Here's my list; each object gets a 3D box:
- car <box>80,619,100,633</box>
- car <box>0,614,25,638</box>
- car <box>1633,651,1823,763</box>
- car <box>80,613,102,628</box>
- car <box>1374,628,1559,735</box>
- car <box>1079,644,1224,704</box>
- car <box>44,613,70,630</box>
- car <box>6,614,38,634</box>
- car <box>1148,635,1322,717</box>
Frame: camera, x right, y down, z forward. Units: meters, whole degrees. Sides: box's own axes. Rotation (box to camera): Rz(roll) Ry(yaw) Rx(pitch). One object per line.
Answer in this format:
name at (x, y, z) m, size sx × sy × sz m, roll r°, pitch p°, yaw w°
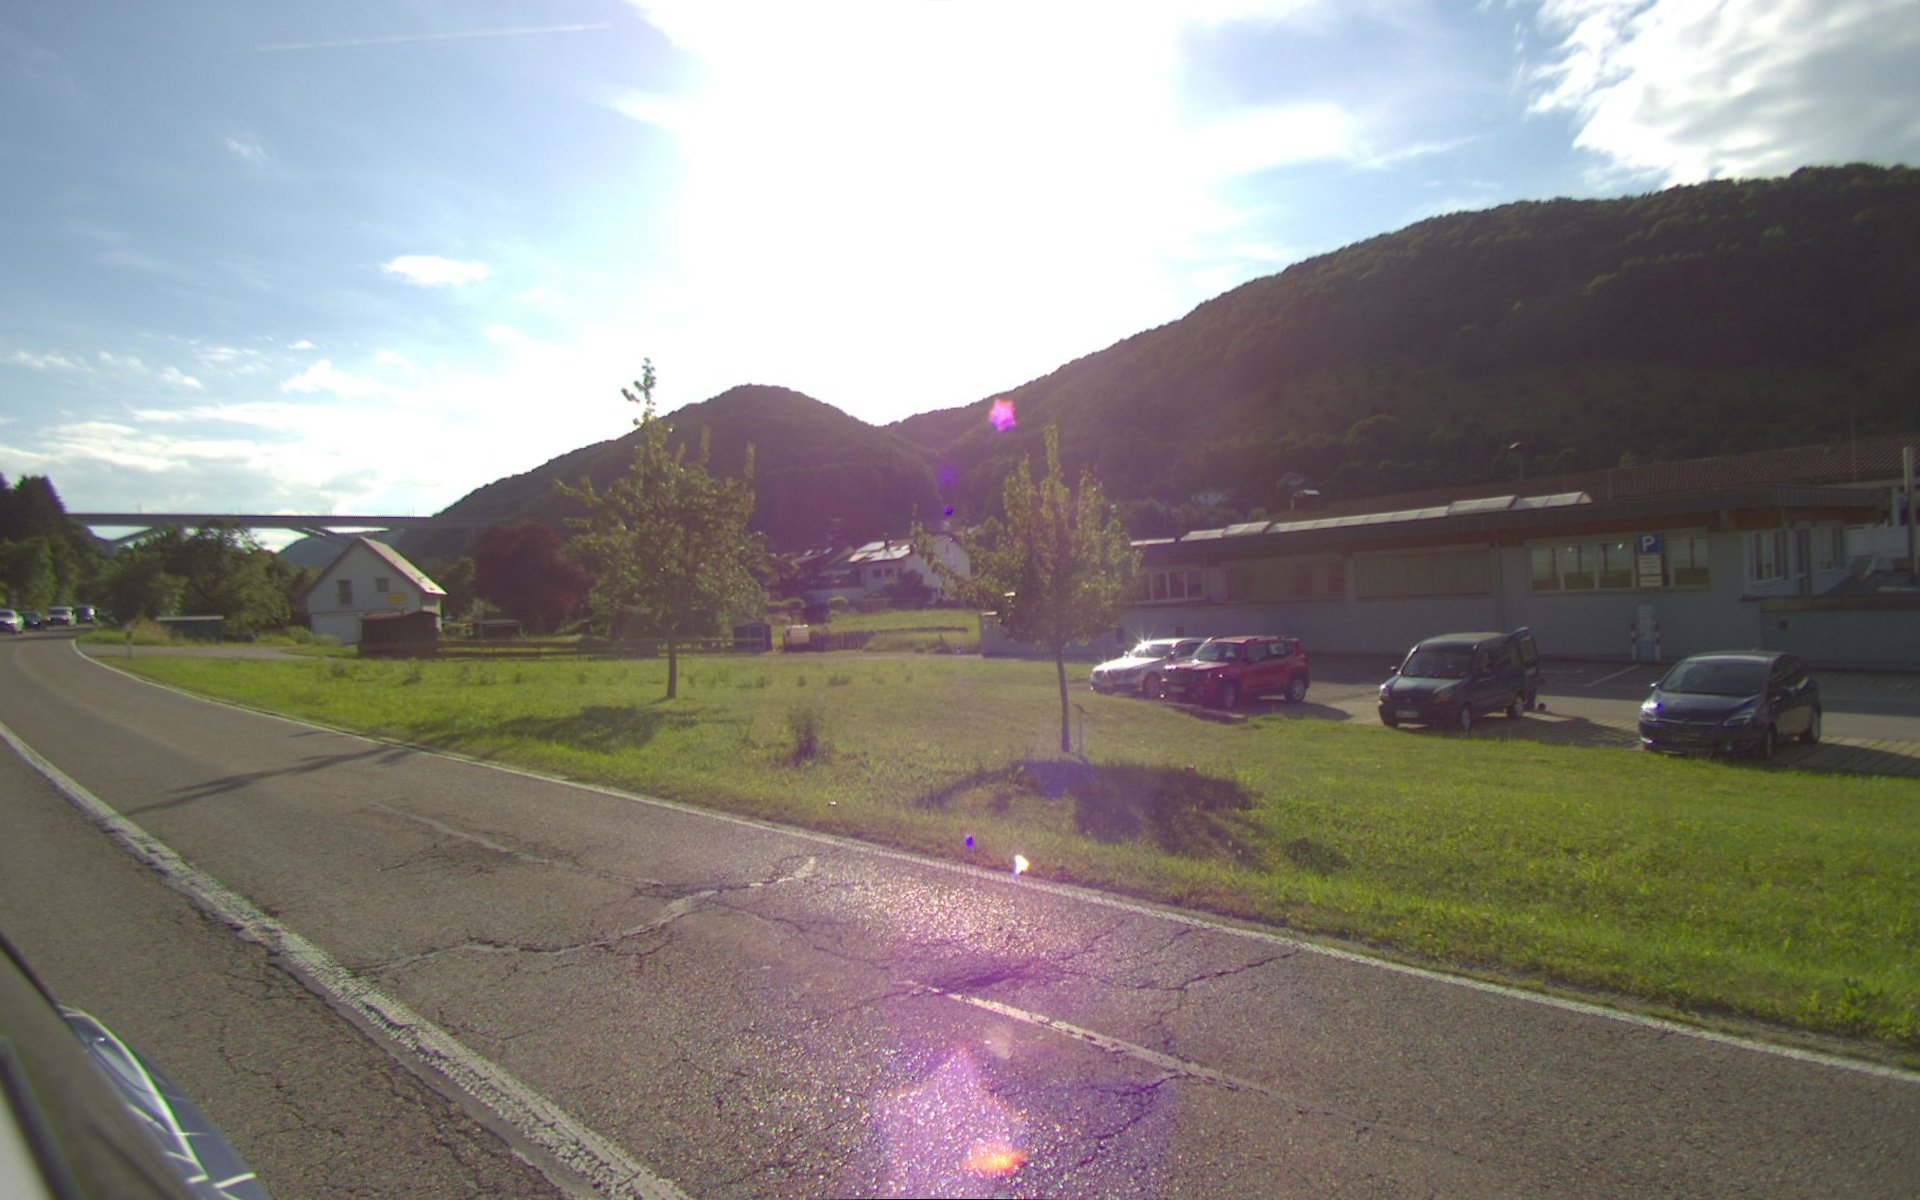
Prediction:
car at (-97.491, 2.933, 113.431) m, size 1.606 × 1.490 × 3.685 m, roll -1°, pitch 0°, yaw -40°
car at (-62.746, 1.701, 66.515) m, size 3.679 × 1.490 × 1.608 m, roll -1°, pitch 0°, yaw 43°
car at (12.817, 1.681, 16.813) m, size 3.958 × 1.463 × 1.687 m, roll -1°, pitch -2°, yaw -41°
car at (-90.178, 2.123, 105.054) m, size 1.606 × 1.490 × 3.685 m, roll -1°, pitch 0°, yaw -40°
car at (10.616, 1.578, 21.018) m, size 4.930 × 1.807 × 1.687 m, roll -1°, pitch 0°, yaw -41°
car at (5.268, 1.970, 27.717) m, size 3.836 × 1.379 × 1.856 m, roll 0°, pitch 0°, yaw -38°
car at (-81.686, 1.903, 91.499) m, size 1.607 × 1.490 × 3.682 m, roll -1°, pitch 0°, yaw -44°
car at (-72.227, 1.834, 77.990) m, size 1.606 × 1.490 × 3.685 m, roll -1°, pitch 0°, yaw -40°
car at (6.849, 1.798, 25.058) m, size 4.263 × 1.682 × 1.852 m, roll -1°, pitch 0°, yaw -35°
